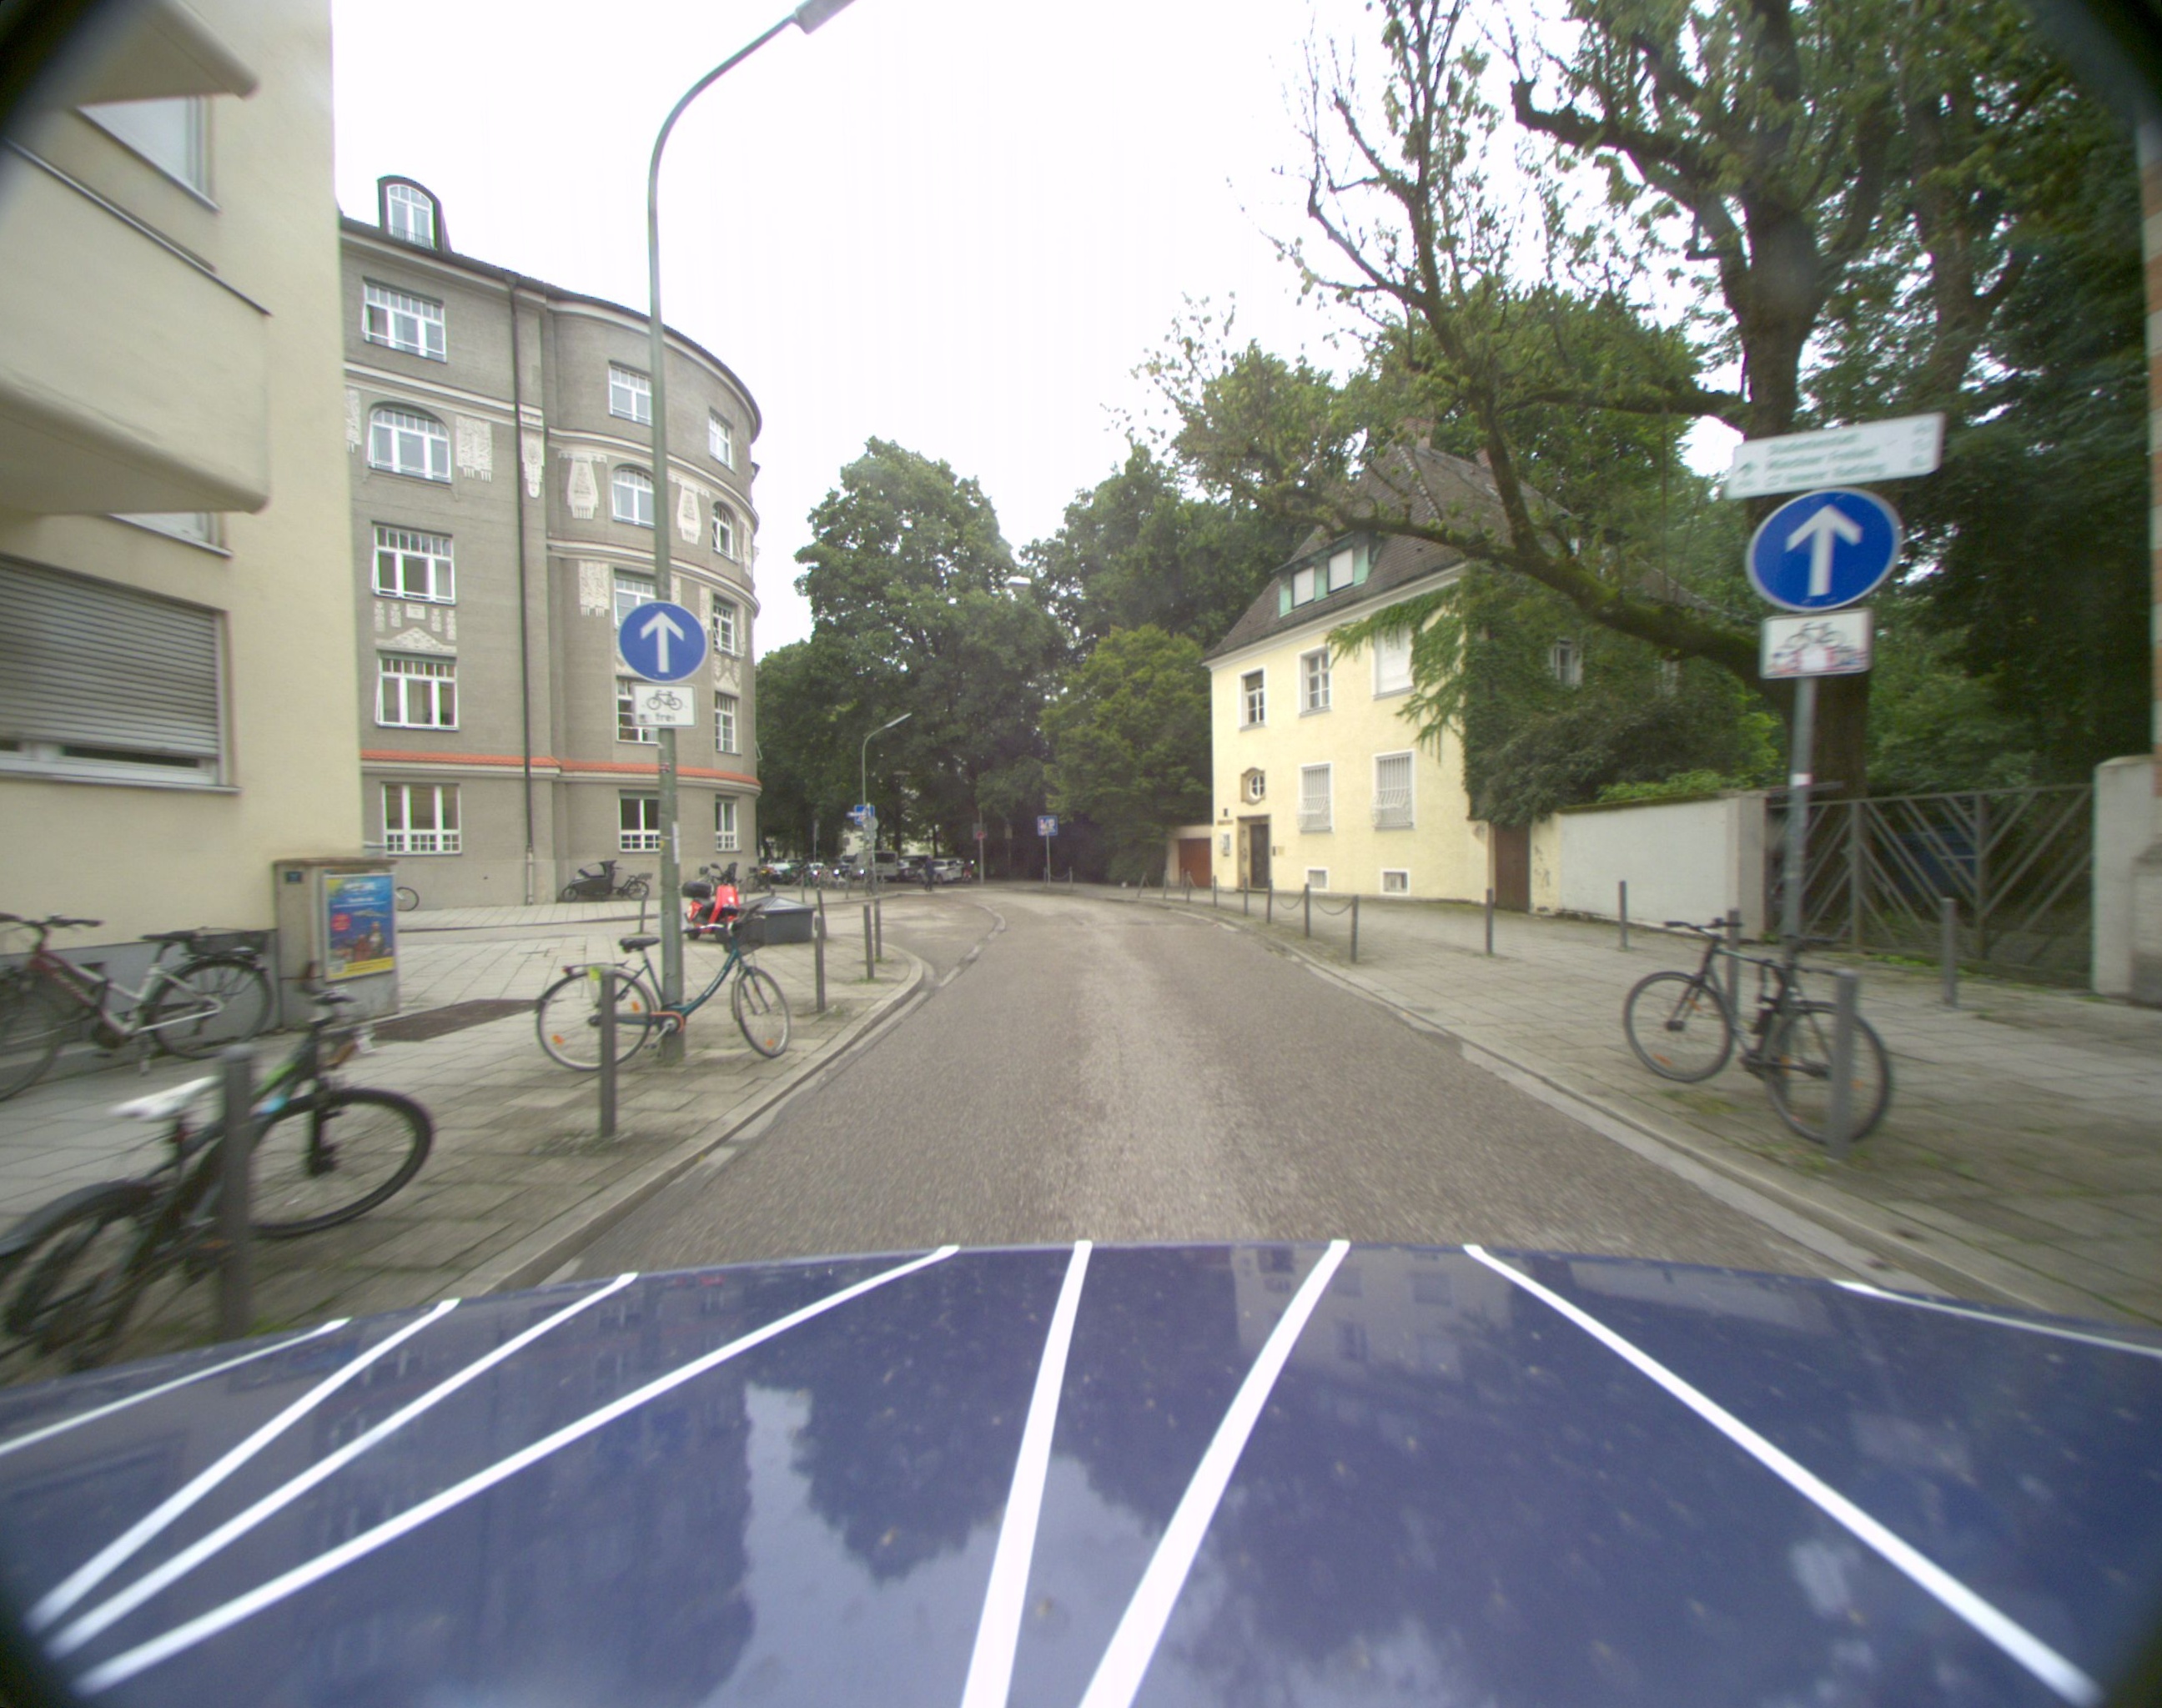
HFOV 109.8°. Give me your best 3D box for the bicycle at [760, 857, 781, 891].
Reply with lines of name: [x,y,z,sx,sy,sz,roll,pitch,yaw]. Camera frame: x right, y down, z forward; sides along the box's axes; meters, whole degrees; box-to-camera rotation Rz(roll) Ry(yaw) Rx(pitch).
bicycle: [-13.464,0.854,32.974,0.739,1.405,1.922,-1,1,-20]

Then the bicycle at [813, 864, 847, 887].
bicycle: [-13.012,1.108,39.423,1.685,1.140,0.465,-1,2,-18]

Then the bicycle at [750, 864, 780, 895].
bicycle: [-12.885,1.017,31.026,0.565,1.150,1.925,3,1,-6]

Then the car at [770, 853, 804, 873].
car: [-27.599,0.844,71.294,1.780,1.825,4.504,-1,1,-37]

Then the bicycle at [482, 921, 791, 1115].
bicycle: [-3.015,1.078,5.396,1.764,1.060,0.774,-1,1,-21]

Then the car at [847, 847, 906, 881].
car: [-12.899,0.605,47.667,2.050,2.030,4.945,-2,1,-34]

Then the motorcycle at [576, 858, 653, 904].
motorcycle: [-15.603,0.865,25.436,2.150,1.432,0.736,-1,2,-34]

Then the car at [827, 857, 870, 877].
car: [-18.086,0.973,59.022,1.780,1.424,4.504,-1,1,-37]

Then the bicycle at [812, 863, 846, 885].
bicycle: [-13.535,1.067,40.822,1.685,1.140,0.511,-1,1,-18]

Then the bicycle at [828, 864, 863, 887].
bicycle: [-12.085,1.098,38.976,1.710,1.140,0.511,-1,1,-18]

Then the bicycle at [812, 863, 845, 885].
bicycle: [-13.753,1.102,41.477,1.685,1.140,0.511,-1,1,-18]

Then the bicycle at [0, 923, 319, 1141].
bicycle: [-6.315,1.081,5.056,0.581,1.048,1.763,0,1,5]

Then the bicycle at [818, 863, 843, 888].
bicycle: [-12.031,1.004,36.483,0.511,1.140,1.684,0,1,4]

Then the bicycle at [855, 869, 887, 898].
bicycle: [-8.001,1.109,29.035,0.511,1.004,2.008,0,1,4]

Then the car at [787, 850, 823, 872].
car: [-24.532,0.594,67.414,1.780,1.808,4.504,-1,1,-37]

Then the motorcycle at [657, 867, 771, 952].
motorcycle: [-6.403,0.929,13.207,2.079,1.348,0.819,-1,1,34]

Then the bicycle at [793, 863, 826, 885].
bicycle: [-15.165,1.117,42.441,1.685,1.140,0.511,-1,1,-18]

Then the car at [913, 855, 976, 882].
car: [-8.030,0.834,44.467,1.628,1.440,4.423,-2,1,-39]

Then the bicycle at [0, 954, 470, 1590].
bicycle: [-2.799,1.029,2.322,0.581,1.147,1.960,-1,1,-11]

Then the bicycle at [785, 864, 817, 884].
bicycle: [-16.452,1.169,44.659,1.685,1.140,0.511,-1,1,-18]

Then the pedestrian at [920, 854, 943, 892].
pedestrian: [-6.613,0.819,33.583,0.728,1.632,0.811,-2,2,-37]

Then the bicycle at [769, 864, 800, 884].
bicycle: [-17.949,1.207,46.057,1.685,1.140,0.511,-1,1,-18]

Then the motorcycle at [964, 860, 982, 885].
motorcycle: [-5.710,0.939,40.119,0.859,1.177,2.004,-4,2,-8]

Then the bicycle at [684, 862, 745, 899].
bicycle: [-13.491,0.966,28.018,0.736,1.249,1.929,0,1,27]

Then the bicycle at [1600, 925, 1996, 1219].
bicycle: [3.625,1.006,4.097,0.581,1.048,1.763,0,1,5]

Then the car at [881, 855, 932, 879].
car: [-11.302,0.782,49.108,1.628,1.440,4.424,-2,1,-35]

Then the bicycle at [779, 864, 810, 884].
bicycle: [-17.063,1.216,45.322,1.685,1.140,0.511,-1,1,-18]
